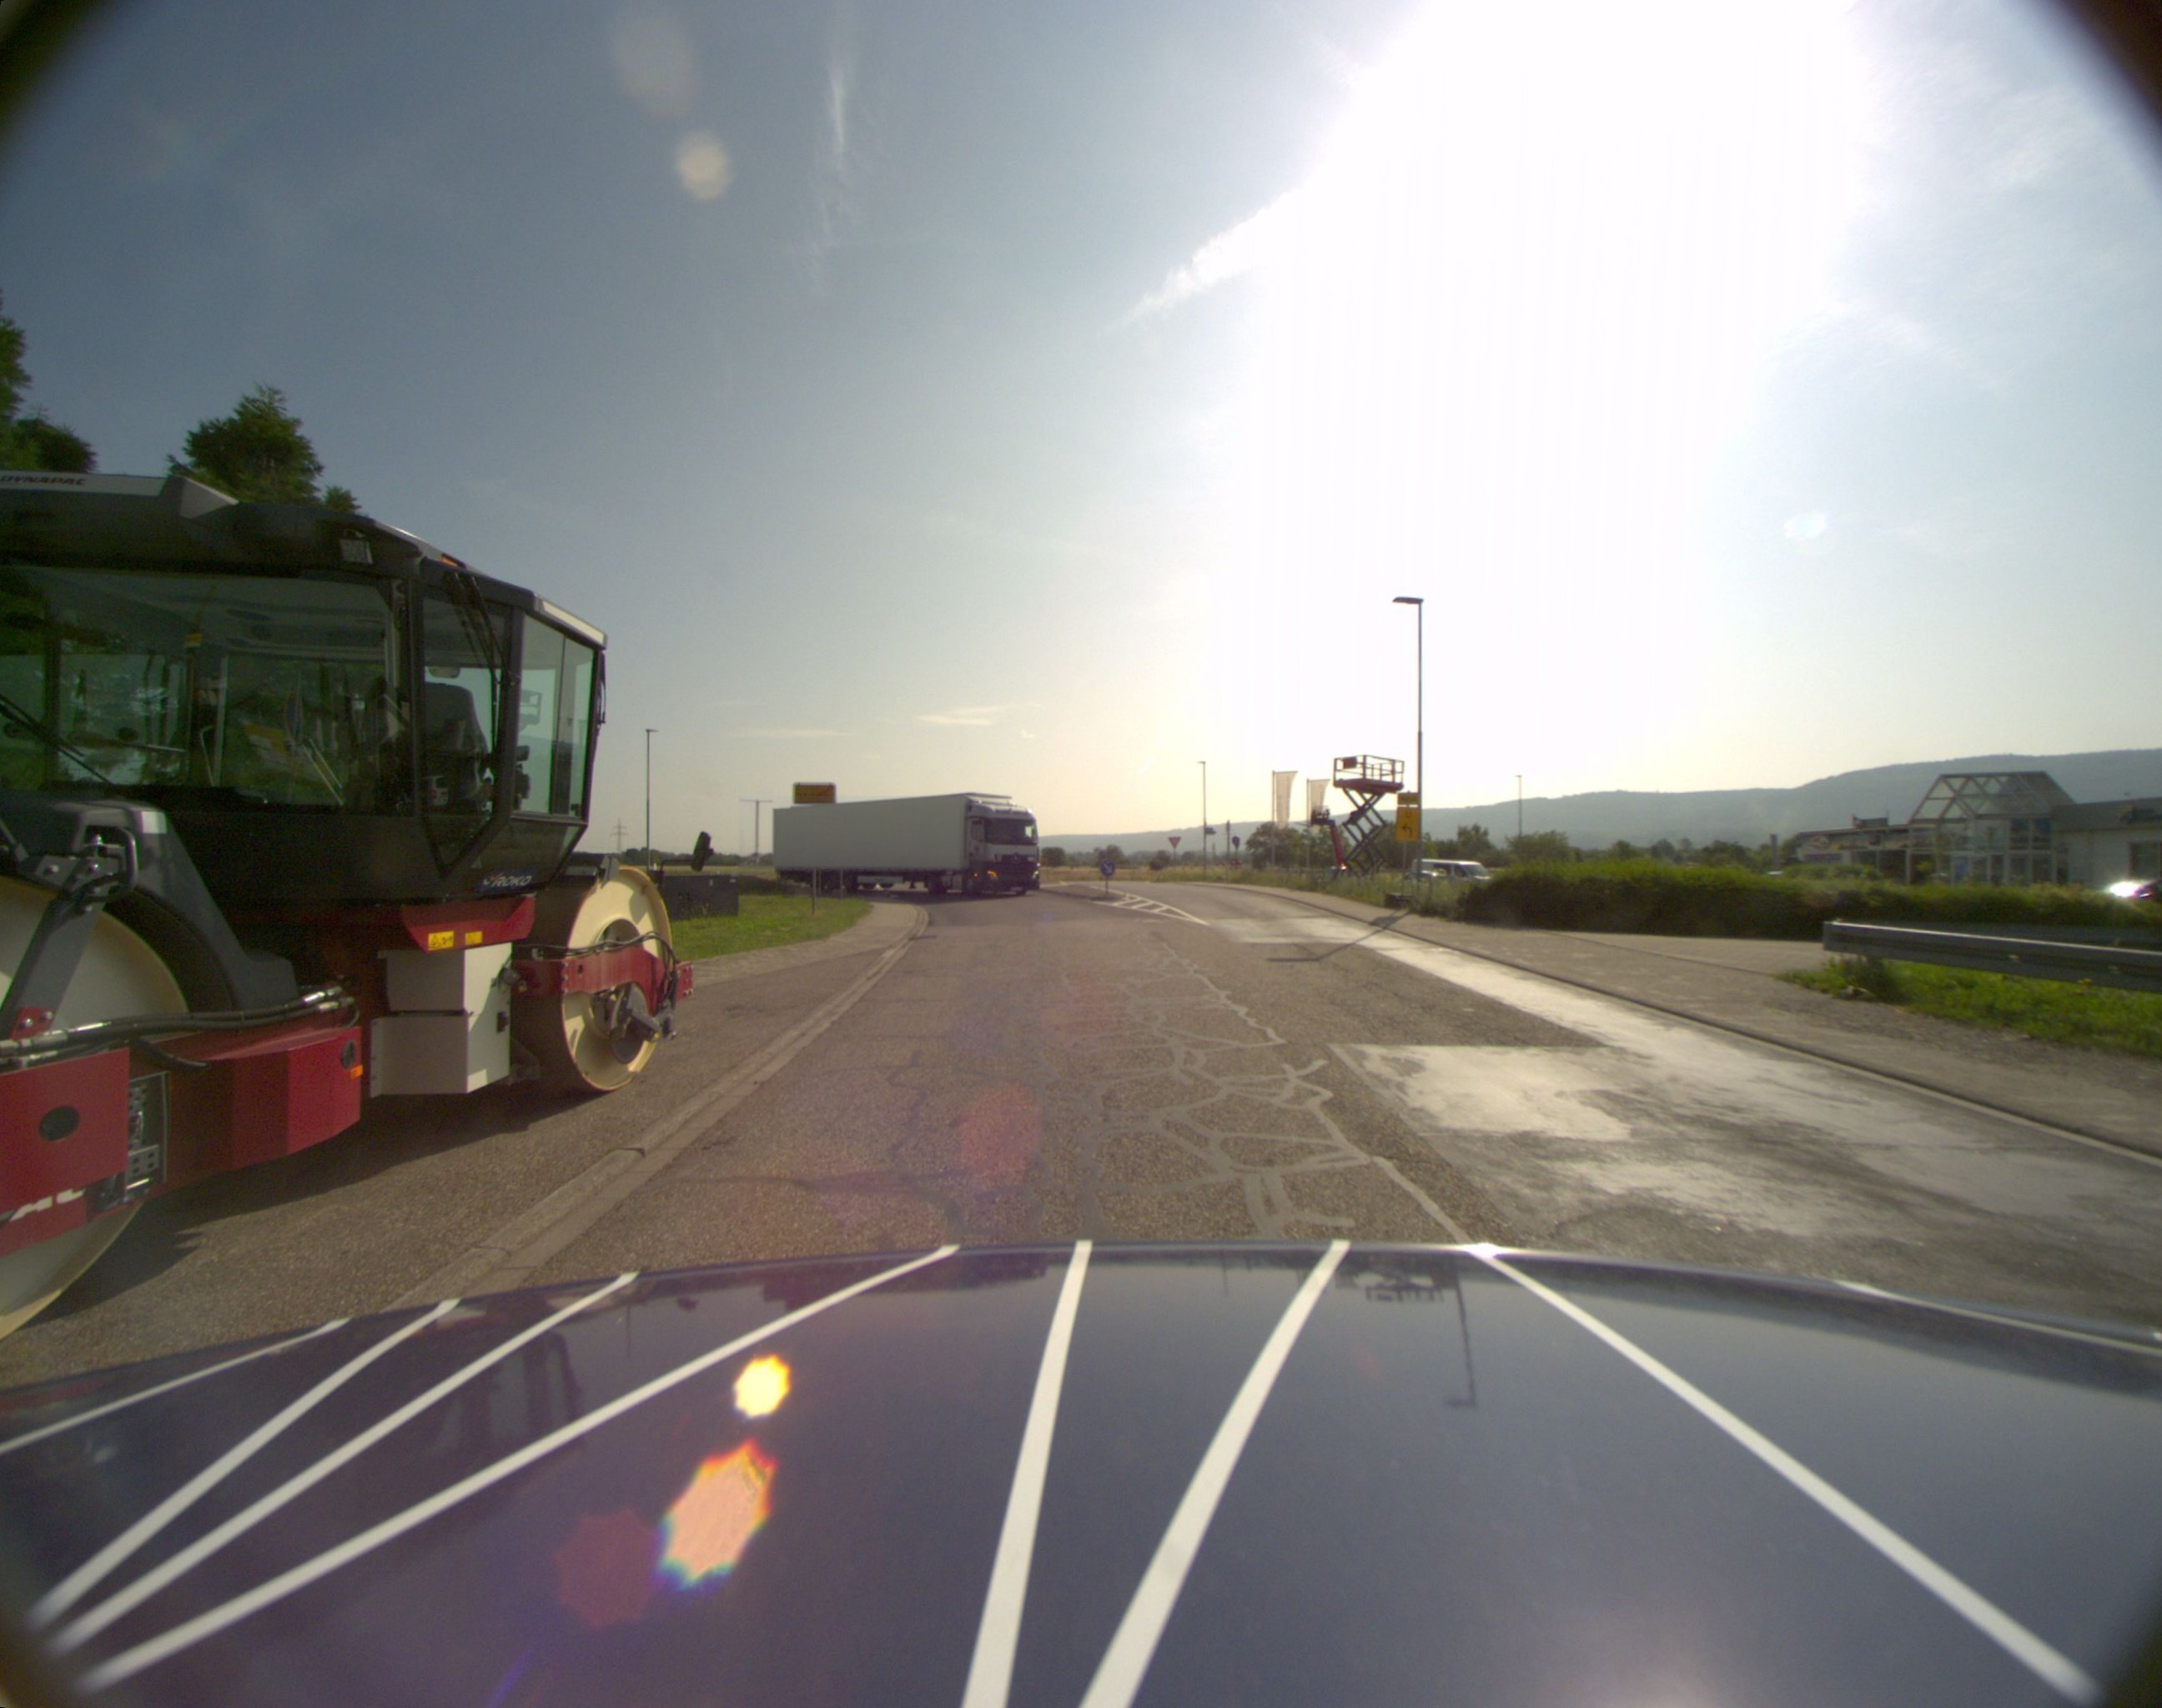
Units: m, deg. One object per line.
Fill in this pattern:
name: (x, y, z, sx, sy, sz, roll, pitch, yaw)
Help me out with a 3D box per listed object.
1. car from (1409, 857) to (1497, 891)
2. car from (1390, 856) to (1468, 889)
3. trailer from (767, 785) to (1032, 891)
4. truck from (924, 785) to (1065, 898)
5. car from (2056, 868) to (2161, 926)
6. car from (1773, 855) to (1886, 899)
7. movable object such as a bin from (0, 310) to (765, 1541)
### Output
car: (24.198, 1.266, 49.565, 2.003, 2.002, 4.805, 1, 0, -30)
car: (21.539, 1.103, 47.184, 1.820, 1.926, 4.087, 1, 0, -30)
trailer: (-9.012, -0.512, 35.714, 14.194, 4.183, 3.506, -2, 1, 36)
truck: (-3.741, -0.482, 31.459, 3.403, 4.183, 6.084, -3, 1, -32)
car: (36.540, 1.443, 25.606, 4.086, 1.861, 1.820, 1, 0, 27)
car: (36.612, 1.085, 37.349, 1.996, 2.002, 4.161, 1, 0, 12)
movable object such as a bin: (-3.955, 0.162, 3.962, 2.435, 2.994, 5.752, 1, 0, -3)
